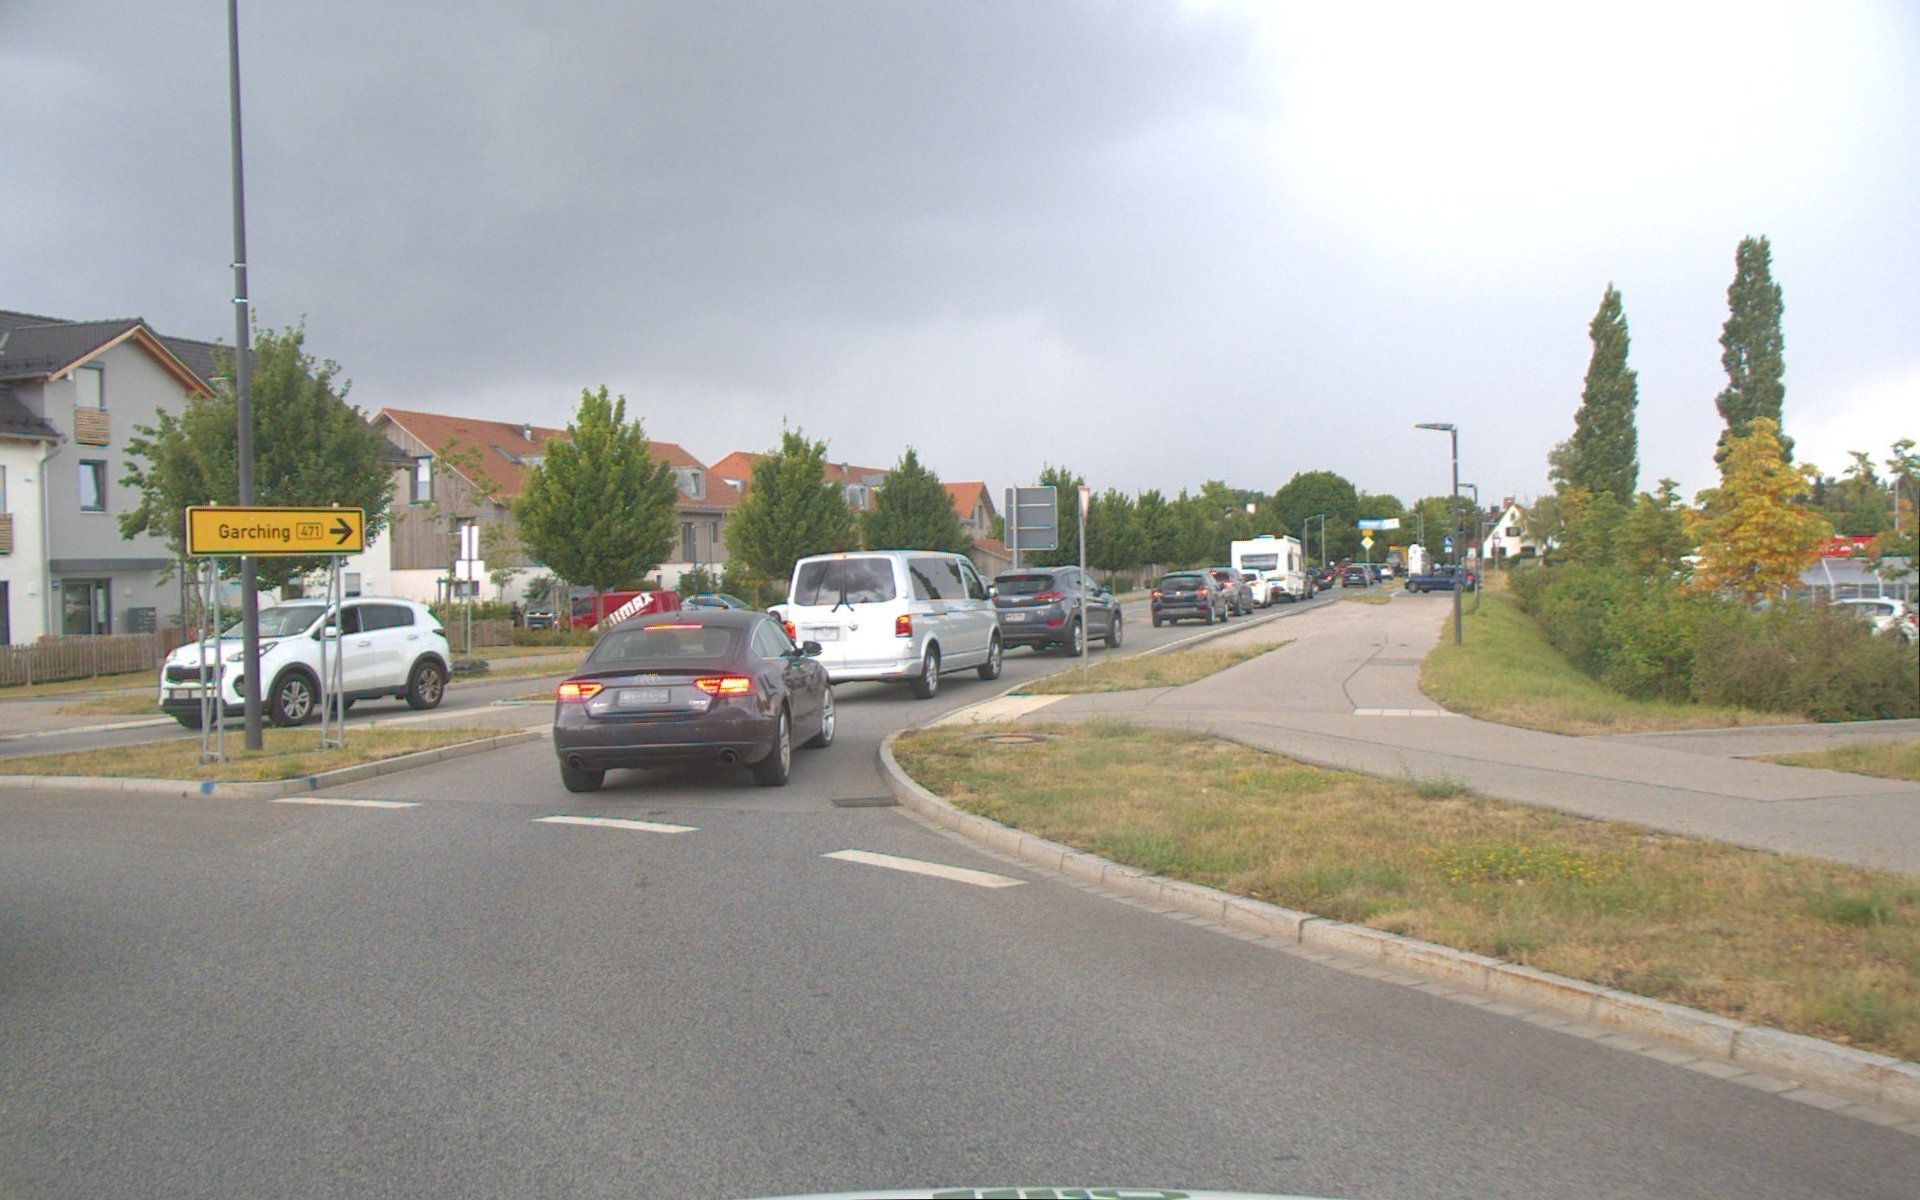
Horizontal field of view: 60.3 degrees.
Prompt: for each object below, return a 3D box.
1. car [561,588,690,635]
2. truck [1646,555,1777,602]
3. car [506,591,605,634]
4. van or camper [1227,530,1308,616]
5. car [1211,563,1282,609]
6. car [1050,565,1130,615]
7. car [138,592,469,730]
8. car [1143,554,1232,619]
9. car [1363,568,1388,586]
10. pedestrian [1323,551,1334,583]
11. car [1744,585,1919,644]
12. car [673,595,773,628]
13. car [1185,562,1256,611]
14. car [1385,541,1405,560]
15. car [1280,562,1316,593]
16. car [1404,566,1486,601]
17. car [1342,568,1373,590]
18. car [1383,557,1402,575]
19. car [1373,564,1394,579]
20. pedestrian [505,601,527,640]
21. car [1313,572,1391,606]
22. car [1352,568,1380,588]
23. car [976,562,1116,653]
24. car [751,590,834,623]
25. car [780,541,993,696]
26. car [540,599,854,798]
[{"bbox_3d":[-12.704,0.426,62.878,4.437,1.709,2.000,-1,0,21],"label":"car"},{"bbox_3d":[31.511,-0.902,69.505,4.694,1.905,2.002,0,0,13],"label":"truck"},{"bbox_3d":[-17.639,0.521,72.284,1.953,1.803,4.465,-1,0,22],"label":"car"},{"bbox_3d":[12.940,-1.084,69.275,2.569,3.381,6.825,0,0,17],"label":"van or camper"},{"bbox_3d":[10.600,-0.520,61.006,1.952,1.624,4.002,0,0,19],"label":"car"},{"bbox_3d":[4.124,-0.332,51.973,1.739,1.459,3.805,-2,0,16],"label":"car"},{"bbox_3d":[-8.977,0.775,23.059,1.673,1.654,4.451,-3,0,21],"label":"car"},{"bbox_3d":[6.231,-0.365,45.021,1.739,1.646,4.002,-2,0,17],"label":"car"},{"bbox_3d":[34.270,-1.911,136.294,1.806,1.461,4.003,0,1,17],"label":"car"},{"bbox_3d":[24.065,-2.150,108.013,0.567,2.048,0.681,2,1,23],"label":"pedestrian"},{"bbox_3d":[23.315,0.377,44.061,4.143,1.465,2.001,-1,1,18],"label":"car"},{"bbox_3d":[-10.151,0.479,71.032,3.831,1.338,1.844,-1,0,15],"label":"car"},{"bbox_3d":[8.264,-0.428,52.174,1.739,1.459,3.805,-2,0,16],"label":"car"},{"bbox_3d":[53.552,-6.087,203.526,1.953,2.250,4.000,-1,1,22],"label":"car"},{"bbox_3d":[23.296,-1.554,113.988,1.952,2.049,4.002,0,1,18],"label":"car"},{"bbox_3d":[26.257,-0.871,89.577,3.923,1.825,1.611,-1,0,38],"label":"car"},{"bbox_3d":[27.151,-1.462,112.918,1.806,1.461,4.003,0,1,17],"label":"car"},{"bbox_3d":[46.240,-3.605,176.762,1.951,1.870,4.003,0,1,16],"label":"car"},{"bbox_3d":[39.747,-2.663,155.129,1.806,1.461,4.003,0,1,17],"label":"car"},{"bbox_3d":[-18.184,0.823,67.739,0.644,1.586,0.583,-1,1,21],"label":"pedestrian"},{"bbox_3d":[21.090,-0.596,88.924,3.903,1.646,2.001,2,1,17],"label":"car"},{"bbox_3d":[30.183,-1.662,122.835,1.806,1.461,4.003,0,1,17],"label":"car"},{"bbox_3d":[1.733,0.114,31.953,1.739,1.646,4.002,-1,0,18],"label":"car"},{"bbox_3d":[-8.147,0.319,80.539,3.650,1.507,1.688,-1,1,15],"label":"car"},{"bbox_3d":[-0.924,0.228,23.201,1.827,1.968,4.003,-1,0,15],"label":"car"},{"bbox_3d":[-2.082,0.732,14.305,1.746,1.416,4.135,-1,0,4],"label":"car"}]
